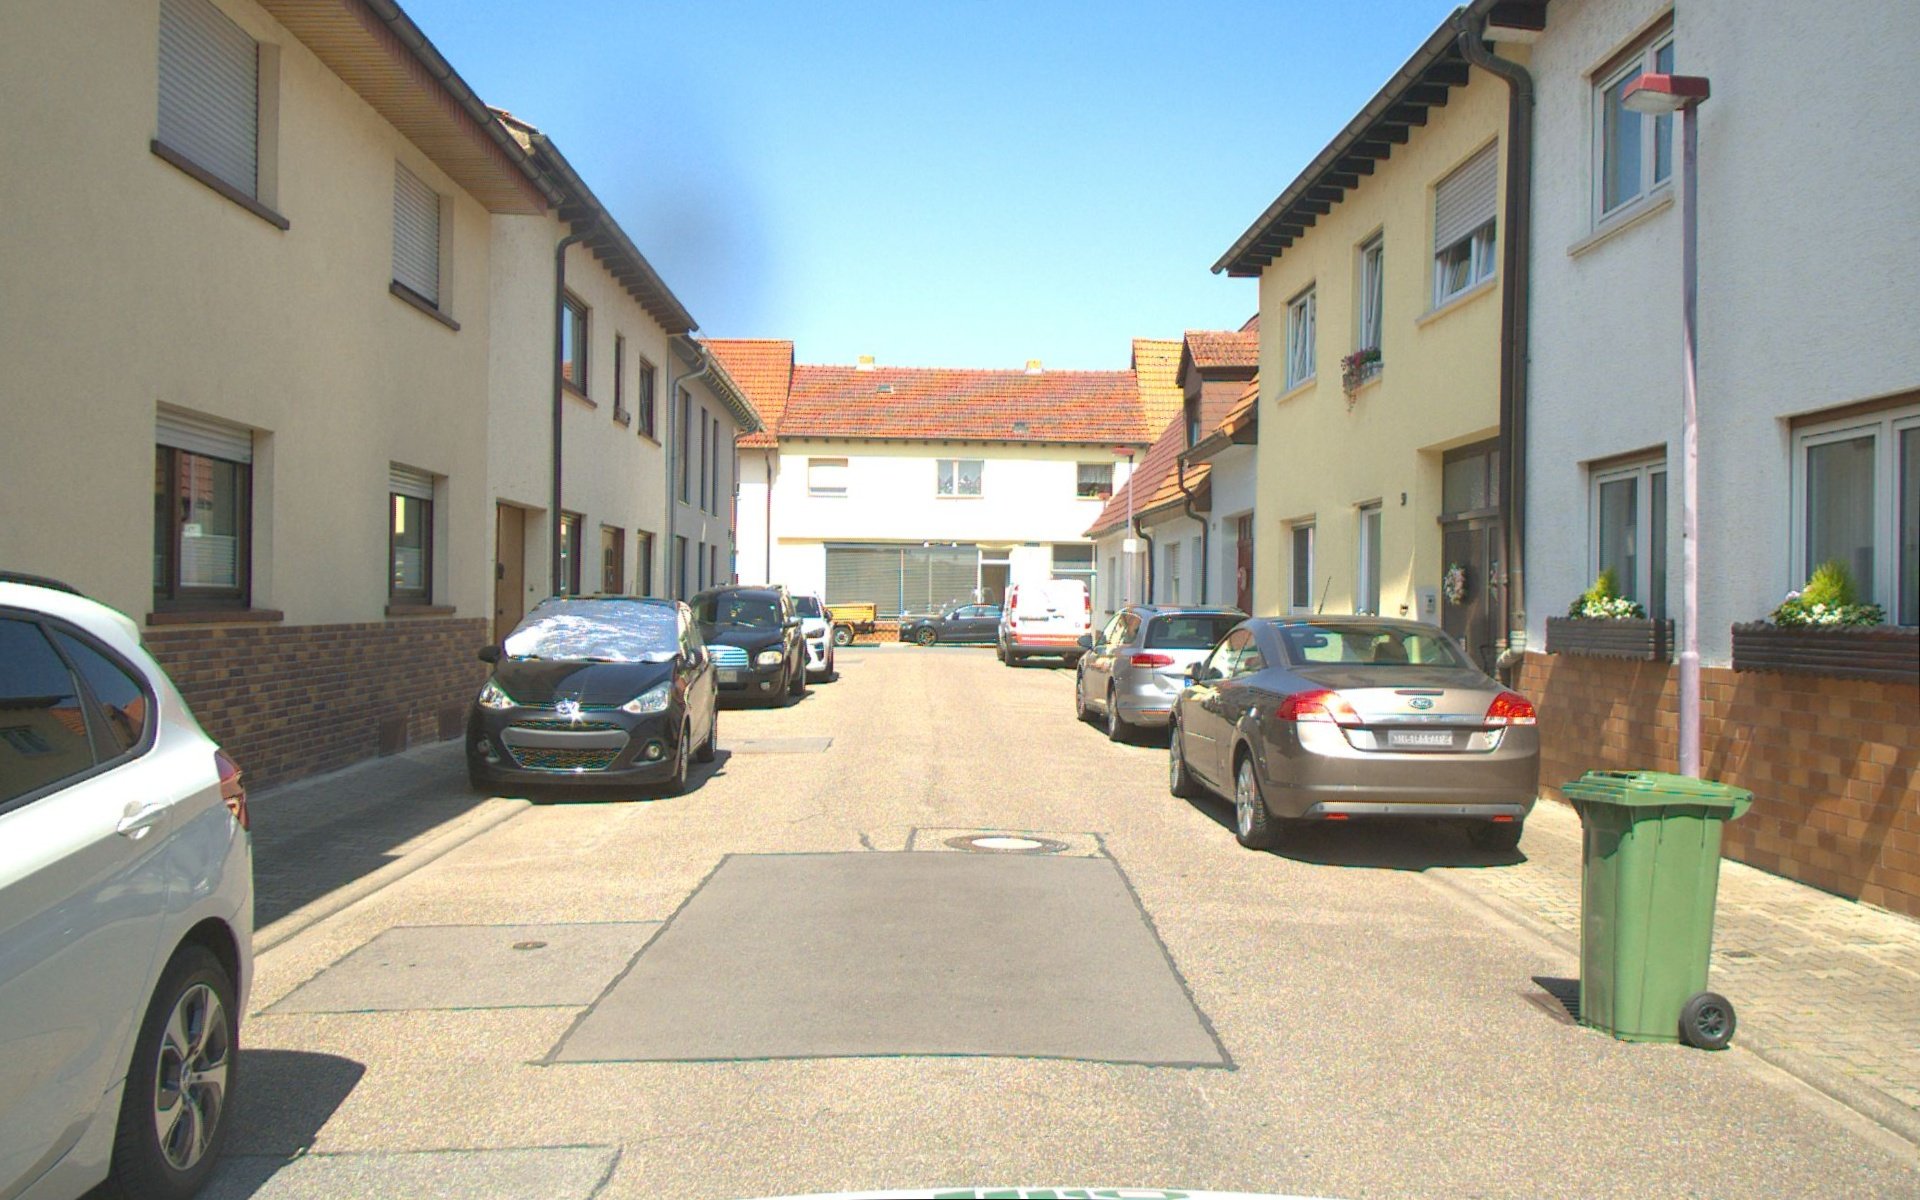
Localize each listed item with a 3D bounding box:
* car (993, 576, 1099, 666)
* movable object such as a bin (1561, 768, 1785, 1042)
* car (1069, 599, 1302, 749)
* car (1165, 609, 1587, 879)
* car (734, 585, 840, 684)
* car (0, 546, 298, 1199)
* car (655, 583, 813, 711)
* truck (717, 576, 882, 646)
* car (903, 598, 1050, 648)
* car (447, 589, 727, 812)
[{"bbox_3d":[1.886,0.454,37.837,1.972,1.871,5.263,2,0,-2],"label":"car"},{"bbox_3d":[2.627,1.103,6.132,0.539,0.907,0.578,1,-1,-8],"label":"movable object such as a bin"},{"bbox_3d":[2.439,0.756,19.092,1.802,1.473,4.773,2,0,-3],"label":"car"},{"bbox_3d":[2.598,0.825,11.333,1.663,1.460,4.100,2,0,-3],"label":"car"},{"bbox_3d":[-3.068,0.586,30.010,1.739,1.643,4.345,0,0,-4],"label":"car"},{"bbox_3d":[-2.529,0.699,2.600,1.630,1.576,3.939,0,0,-4],"label":"car"},{"bbox_3d":[-3.106,0.613,23.443,1.687,1.643,3.989,0,0,0],"label":"car"},{"bbox_3d":[-4.985,0.348,51.992,4.961,2.049,2.189,1,-1,-2],"label":"truck"},{"bbox_3d":[0.481,0.745,52.096,4.524,1.419,1.926,1,-3,-3],"label":"car"},{"bbox_3d":[-2.932,0.717,13.755,1.607,1.564,3.940,0,0,-3],"label":"car"}]
